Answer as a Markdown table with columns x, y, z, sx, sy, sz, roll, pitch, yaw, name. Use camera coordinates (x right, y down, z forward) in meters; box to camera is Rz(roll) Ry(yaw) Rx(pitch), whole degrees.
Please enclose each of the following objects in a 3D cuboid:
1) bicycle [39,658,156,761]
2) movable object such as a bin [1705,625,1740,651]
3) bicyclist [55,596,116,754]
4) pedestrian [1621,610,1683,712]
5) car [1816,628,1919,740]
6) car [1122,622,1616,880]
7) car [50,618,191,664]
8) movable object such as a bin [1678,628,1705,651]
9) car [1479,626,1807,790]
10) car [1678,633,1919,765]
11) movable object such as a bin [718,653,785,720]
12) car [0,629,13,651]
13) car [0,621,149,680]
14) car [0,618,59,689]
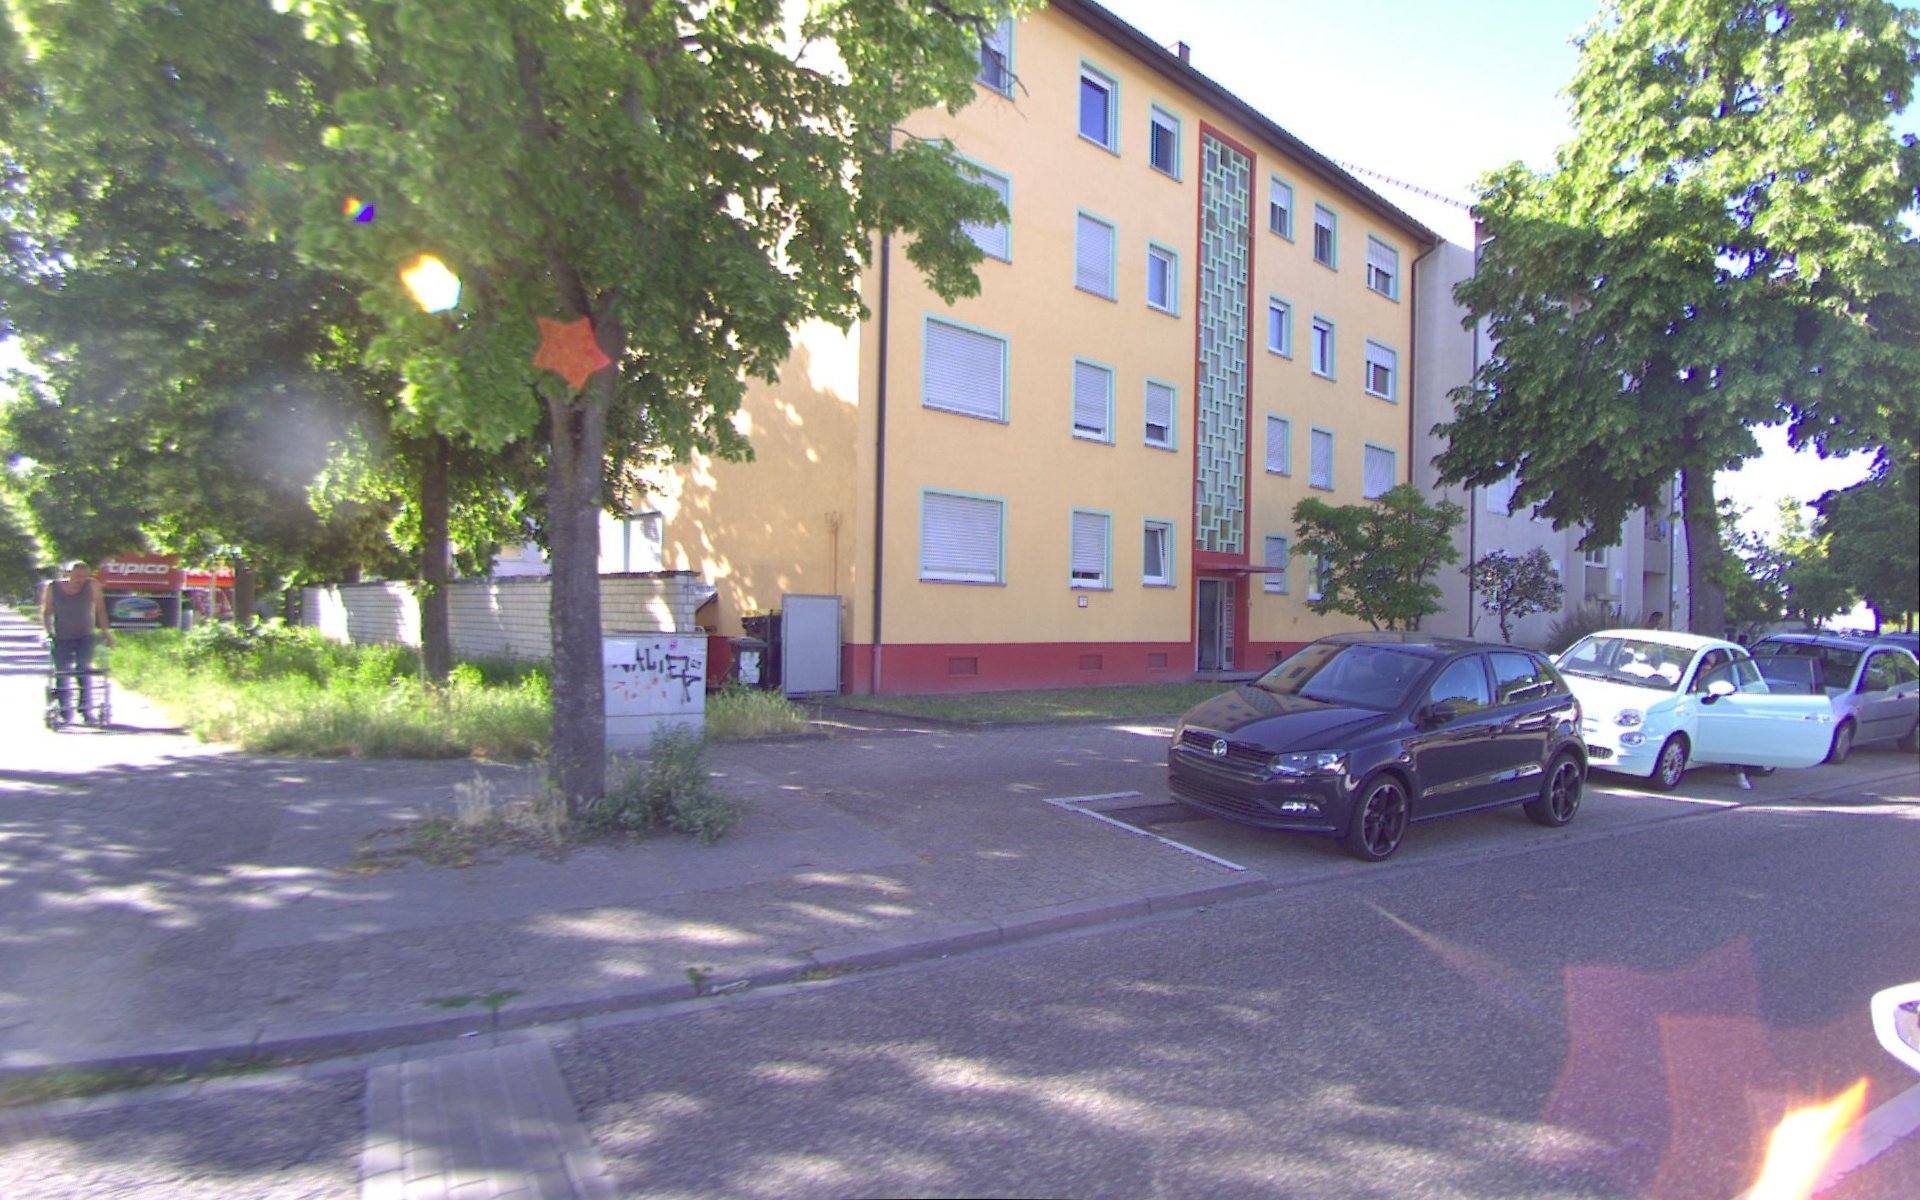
| x | y | z | sx | sy | sz | roll | pitch | yaw | name |
| --- | --- | --- | --- | --- | --- | --- | --- | --- | --- |
| -9.484 | 1.172 | 11.034 | 1.592 | 1.024 | 0.406 | 0 | -1 | 27 | bicycle |
| 43.589 | 2.184 | 57.449 | 1.501 | 1.446 | 1.082 | -1 | -4 | 43 | movable object such as a bin |
| -9.678 | 0.813 | 11.119 | 0.382 | 1.708 | 0.382 | 0 | 1 | 27 | bicyclist |
| 12.135 | 1.075 | 17.621 | 0.713 | 1.740 | 0.682 | 3 | -3 | -32 | pedestrian |
| 15.627 | 1.291 | 16.193 | 3.873 | 1.551 | 1.559 | 1 | 3 | -31 | car |
| 3.339 | 1.018 | 7.925 | 4.012 | 1.499 | 1.689 | 3 | -1 | -35 | car |
| -30.387 | 1.439 | 36.431 | 3.854 | 1.552 | 1.487 | 0 | -1 | -43 | car |
| 42.537 | 2.291 | 58.401 | 1.159 | 1.338 | 1.082 | -1 | -4 | 43 | movable object such as a bin |
| 7.783 | 1.142 | 11.355 | 4.010 | 1.543 | 1.690 | 3 | -4 | -34 | car |
| 11.647 | 1.242 | 13.620 | 3.953 | 1.530 | 1.650 | 2 | -1 | -30 | car |
| -3.061 | 1.251 | 14.731 | 0.740 | 0.923 | 0.691 | 0 | -1 | -40 | movable object such as a bin |
| -74.259 | 3.010 | 75.806 | 3.974 | 1.641 | 1.633 | 1 | -3 | -45 | car |
| -24.857 | 1.352 | 27.660 | 3.854 | 1.525 | 1.487 | 0 | -1 | -43 | car |
| -21.905 | 1.154 | 21.511 | 3.854 | 1.525 | 1.487 | 0 | -1 | -43 | car |
